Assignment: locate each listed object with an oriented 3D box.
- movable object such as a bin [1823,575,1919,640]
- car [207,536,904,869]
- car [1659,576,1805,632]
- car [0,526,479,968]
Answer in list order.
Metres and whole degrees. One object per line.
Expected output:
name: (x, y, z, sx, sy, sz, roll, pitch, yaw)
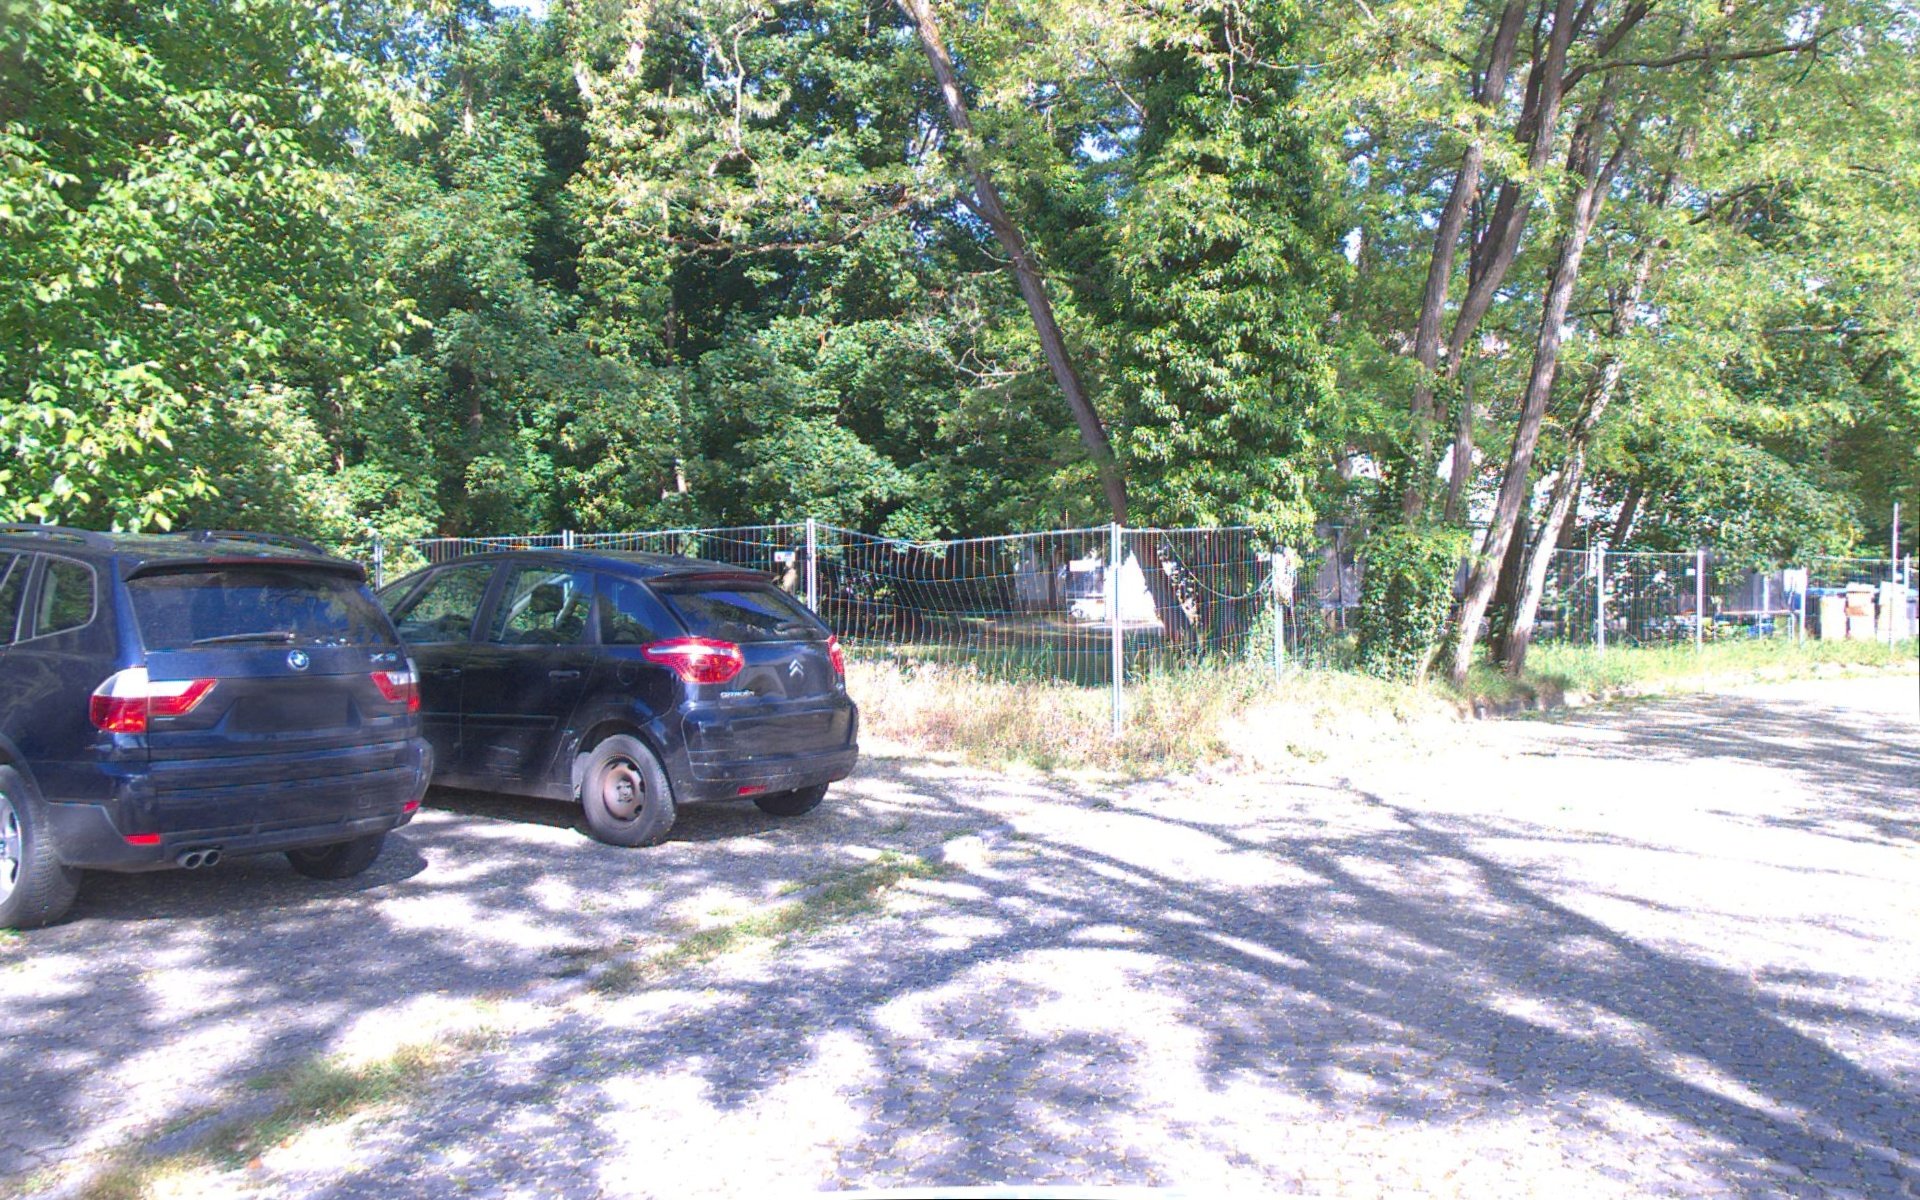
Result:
movable object such as a bin: (23.395, 0.168, 42.352, 2.245, 1.619, 1.172, 0, 1, 30)
car: (-2.645, 0.507, 10.665, 4.204, 1.680, 1.791, 3, 2, 27)
car: (28.035, 0.159, 60.115, 4.623, 1.935, 1.996, -1, -1, 31)
car: (-4.473, 0.490, 8.236, 4.105, 1.685, 1.812, 2, 2, 34)
